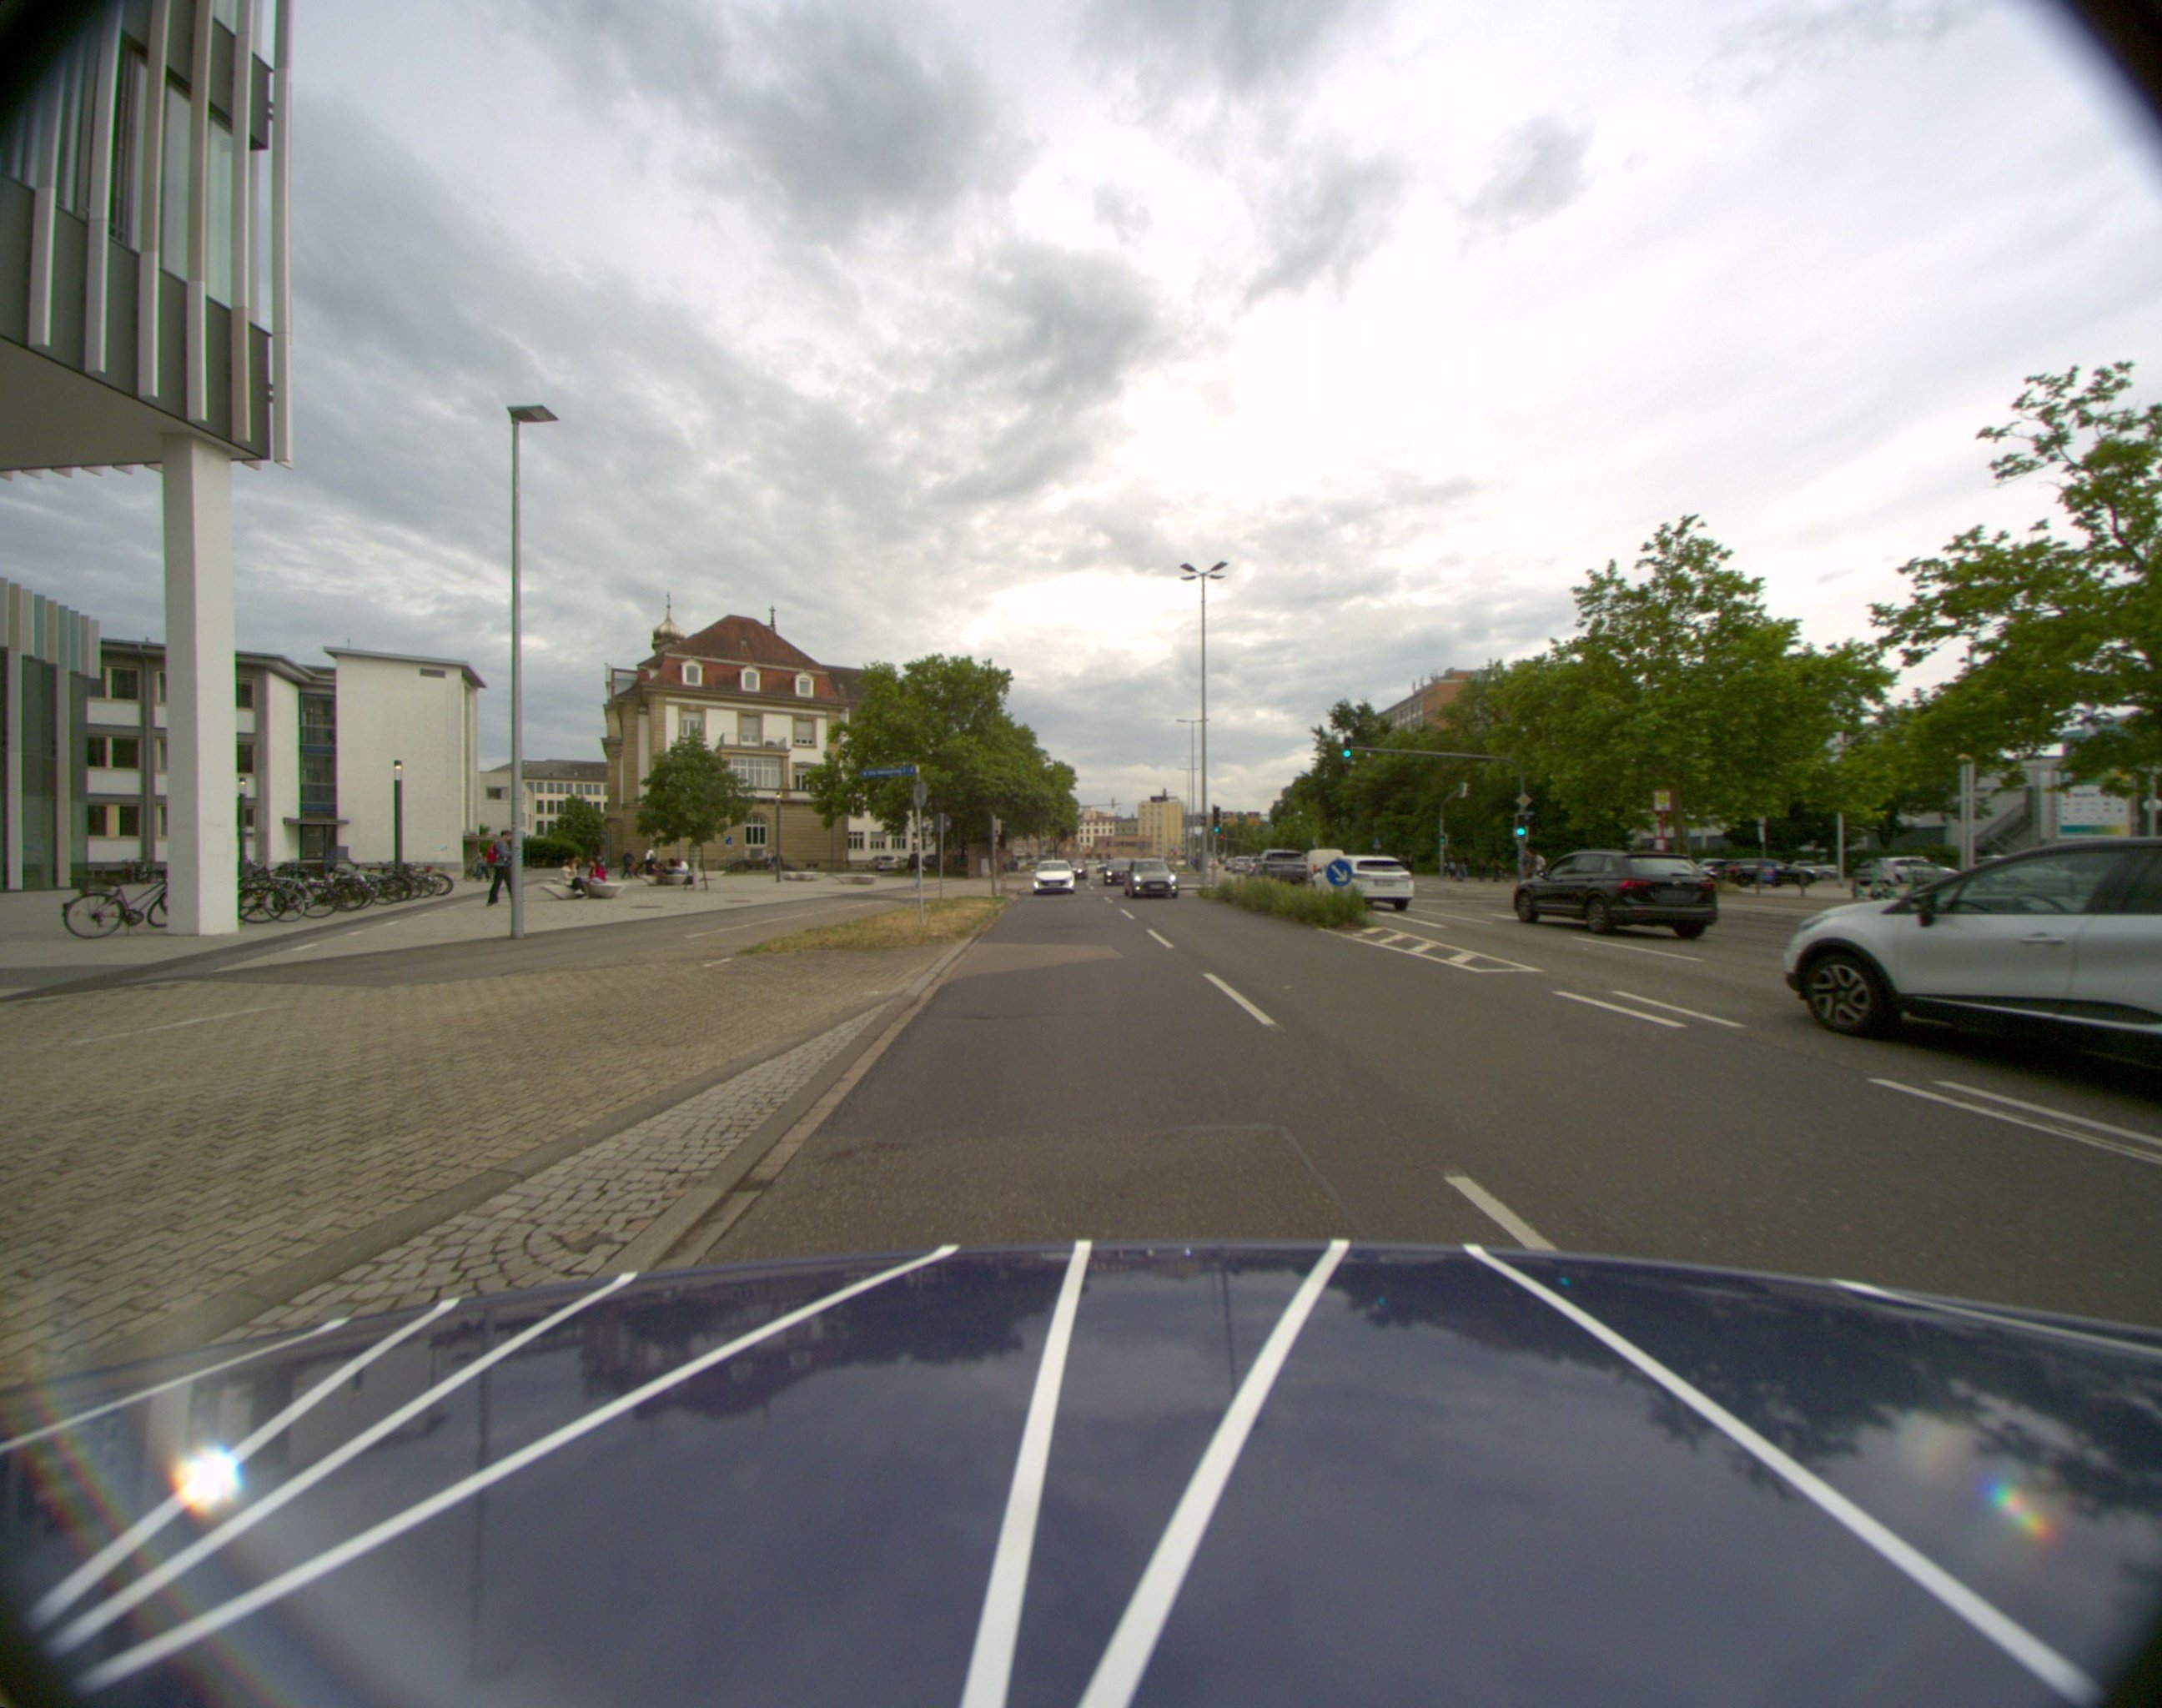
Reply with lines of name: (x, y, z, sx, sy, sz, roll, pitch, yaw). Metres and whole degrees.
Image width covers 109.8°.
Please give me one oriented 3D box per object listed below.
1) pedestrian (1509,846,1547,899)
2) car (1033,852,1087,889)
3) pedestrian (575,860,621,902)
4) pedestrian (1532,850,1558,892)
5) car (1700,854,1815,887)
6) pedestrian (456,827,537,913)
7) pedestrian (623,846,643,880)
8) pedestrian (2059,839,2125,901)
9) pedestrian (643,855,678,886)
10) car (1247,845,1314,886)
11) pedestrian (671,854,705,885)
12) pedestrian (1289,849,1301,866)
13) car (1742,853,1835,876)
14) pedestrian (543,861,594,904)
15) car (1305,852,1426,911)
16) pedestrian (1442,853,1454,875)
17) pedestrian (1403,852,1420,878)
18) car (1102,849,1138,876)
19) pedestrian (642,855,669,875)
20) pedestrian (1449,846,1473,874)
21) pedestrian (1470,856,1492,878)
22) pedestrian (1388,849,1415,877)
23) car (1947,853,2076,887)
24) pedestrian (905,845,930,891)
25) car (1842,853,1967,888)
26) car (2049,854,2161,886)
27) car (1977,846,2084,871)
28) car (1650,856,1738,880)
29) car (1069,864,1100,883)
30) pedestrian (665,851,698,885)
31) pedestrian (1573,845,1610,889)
pedestrian: (17.274, 0.694, 29.388, 0.896, 2.002, 1.009, 0, 0, 2)
car: (-0.879, 0.681, 33.951, 1.812, 1.532, 4.002, 0, 0, 7)
pedestrian: (-14.338, 0.774, 22.551, 0.843, 1.199, 0.896, 0, 1, 38)
pedestrian: (22.758, 0.808, 37.295, 0.668, 2.047, 0.852, 0, 1, -11)
car: (33.932, 0.813, 38.203, 3.997, 1.463, 2.000, -2, 0, 0)
pedestrian: (-14.567, 0.388, 18.981, 1.136, 2.050, 1.184, -2, 0, -13)
pedestrian: (-24.951, 0.502, 42.305, 0.739, 1.875, 0.888, 0, 1, -15)
pedestrian: (33.814, 0.524, 25.427, 0.795, 2.002, 1.096, 0, 1, -13)
pedestrian: (-17.878, 0.688, 32.314, 0.910, 1.250, 0.879, -2, 0, 6)
car: (8.953, 0.482, 34.544, 1.998, 1.677, 4.949, -2, 0, 4)
pedestrian: (-16.713, 0.648, 32.363, 0.910, 1.250, 0.879, -2, 0, 6)
pedestrian: (21.531, 0.339, 76.533, 0.990, 1.616, 0.814, -2, 0, 5)
car: (45.703, 0.671, 49.150, 3.996, 1.383, 2.001, -2, 0, 4)
pedestrian: (-14.823, 0.809, 21.982, 0.892, 1.186, 0.846, 0, 0, 17)
car: (8.105, 0.721, 22.203, 1.908, 1.457, 4.912, -2, 0, 3)
pedestrian: (26.912, 0.748, 55.716, 0.503, 1.597, 0.602, 0, 0, -7)
pedestrian: (22.660, 0.729, 52.070, 0.590, 1.685, 0.653, 11, 2, 6)
car: (2.217, 0.442, 42.550, 1.731, 1.450, 4.002, 0, 0, 7)
pedestrian: (-17.442, 0.440, 31.180, 0.635, 0.819, 0.734, 1, 1, 19)
pedestrian: (27.444, 0.435, 54.934, 1.043, 2.002, 1.098, -2, 0, -28)
pedestrian: (25.816, 0.845, 49.030, 0.701, 1.420, 0.998, -2, 0, -24)
pedestrian: (23.995, 0.654, 56.899, 1.185, 2.002, 1.350, -2, 0, -16)
car: (46.172, 0.770, 37.767, 3.996, 1.674, 1.854, 0, 0, 2)
pedestrian: (-7.157, 0.612, 33.298, 0.844, 2.002, 0.895, 0, 1, 5)
car: (40.964, 0.809, 37.879, 3.996, 1.570, 2.000, -2, 0, 2)
car: (51.021, 0.772, 37.465, 3.996, 1.544, 1.889, 0, 0, 4)
car: (60.098, 0.268, 48.152, 3.995, 1.532, 2.001, 0, 0, 5)
car: (39.550, 0.880, 49.099, 3.996, 1.383, 2.001, -2, 0, 4)
car: (0.289, 1.388, 54.499, 1.702, 1.181, 2.832, -2, 0, 11)
pedestrian: (-16.335, 0.564, 31.097, 0.911, 1.359, 0.878, -2, 0, -6)
pedestrian: (21.491, 0.543, 32.017, 0.897, 1.793, 0.936, 1, 1, 0)
